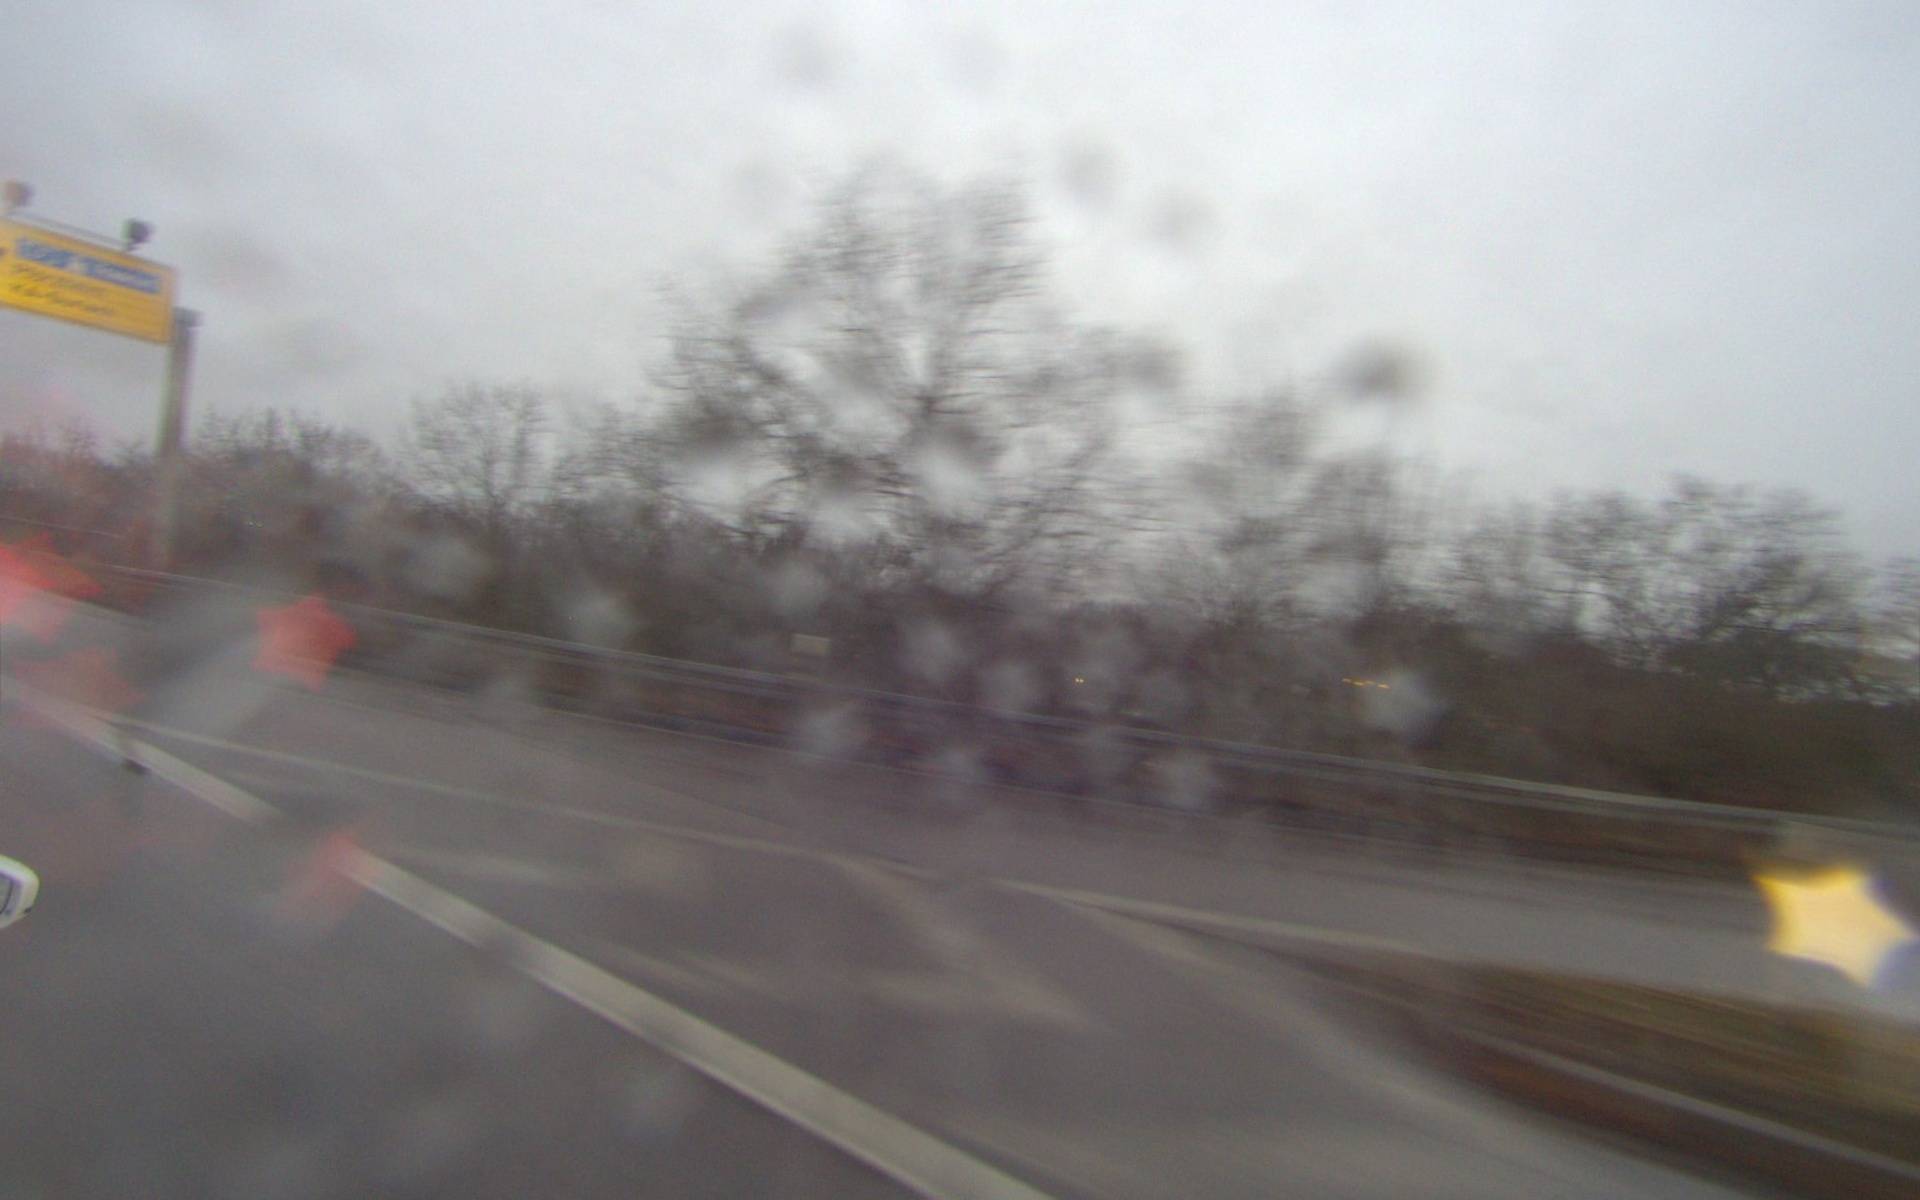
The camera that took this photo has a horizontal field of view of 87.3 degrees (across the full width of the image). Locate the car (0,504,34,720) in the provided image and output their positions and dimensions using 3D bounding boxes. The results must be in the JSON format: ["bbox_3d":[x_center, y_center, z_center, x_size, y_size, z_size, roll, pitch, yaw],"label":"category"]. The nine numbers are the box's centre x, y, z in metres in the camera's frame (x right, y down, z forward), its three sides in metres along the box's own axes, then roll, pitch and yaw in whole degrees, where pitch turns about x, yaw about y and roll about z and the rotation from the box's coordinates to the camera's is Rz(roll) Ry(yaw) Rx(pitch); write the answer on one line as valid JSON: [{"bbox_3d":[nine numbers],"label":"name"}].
[{"bbox_3d":[-8.874,-0.158,7.512,4.073,1.519,1.994,6,-1,35],"label":"car"}]
